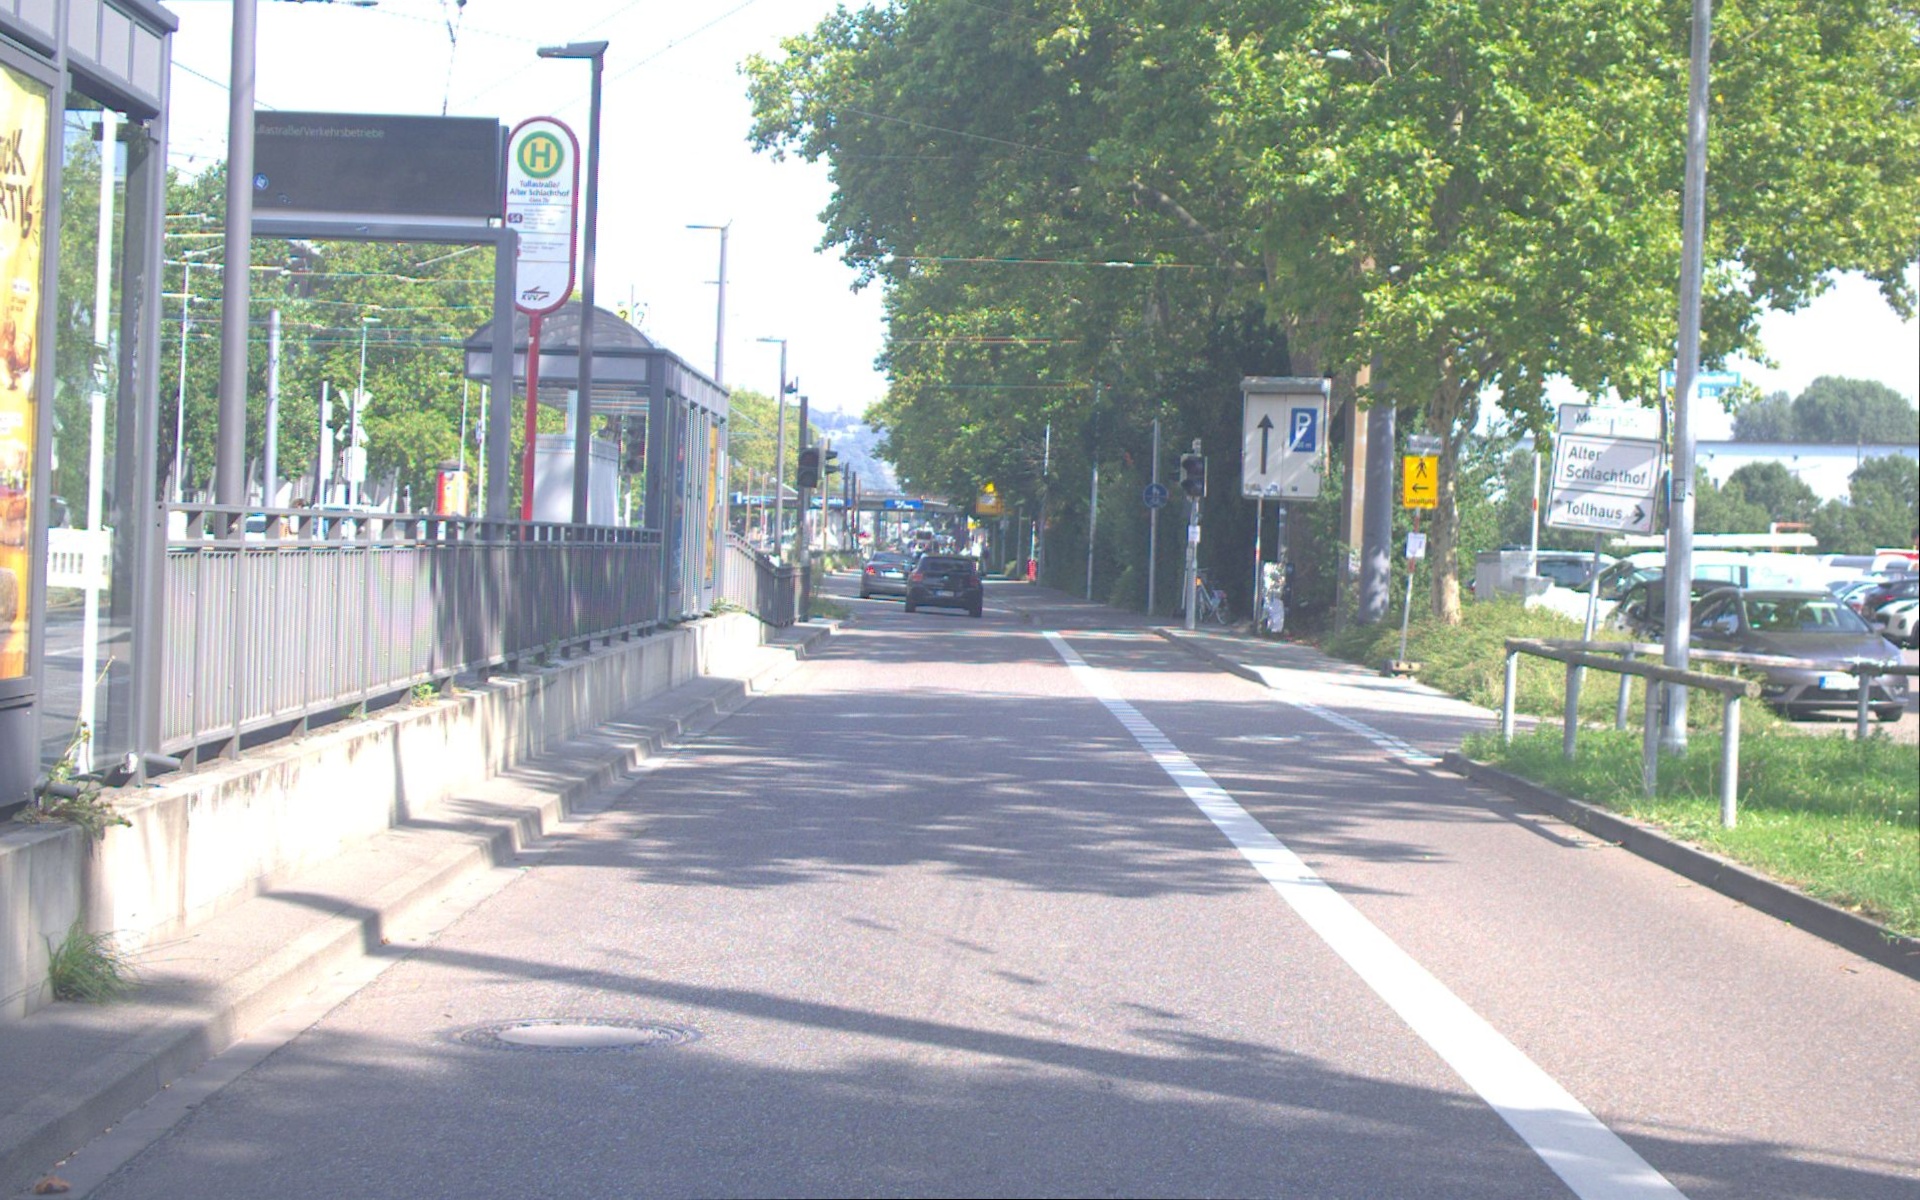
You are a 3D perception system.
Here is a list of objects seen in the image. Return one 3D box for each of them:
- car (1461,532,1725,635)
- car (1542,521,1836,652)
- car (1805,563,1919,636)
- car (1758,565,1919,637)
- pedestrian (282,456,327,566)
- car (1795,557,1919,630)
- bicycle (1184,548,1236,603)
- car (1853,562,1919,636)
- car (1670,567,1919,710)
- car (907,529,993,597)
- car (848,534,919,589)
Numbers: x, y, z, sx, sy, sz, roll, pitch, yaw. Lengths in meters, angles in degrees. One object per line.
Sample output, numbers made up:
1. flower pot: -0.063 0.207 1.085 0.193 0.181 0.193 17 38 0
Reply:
1. car: 10.613 -0.291 57.862 3.987 1.581 2.000 2 1 -1
2. car: 11.062 -0.226 52.360 4.103 1.912 1.847 1 1 3
3. car: 20.720 0.046 74.239 4.343 1.459 1.948 3 1 -2
4. car: 20.817 0.039 79.137 4.343 1.459 1.948 3 1 -2
5. pedestrian: -11.003 -1.480 57.693 0.707 1.815 0.773 1 0 -10
6. car: 23.908 -0.136 88.307 4.343 1.707 1.948 3 1 -2
7. bicycle: 4.916 -0.493 67.789 0.610 1.018 2.403 2 1 -5
8. car: 20.900 0.047 70.940 4.343 1.459 1.948 3 1 -2
9. car: 9.389 0.390 38.864 1.728 1.443 4.551 1 1 0
10. car: -0.266 -0.888 80.176 1.907 1.532 4.000 0 1 -1
11. car: -2.228 -1.128 99.601 1.973 1.532 4.000 -1 1 -2
